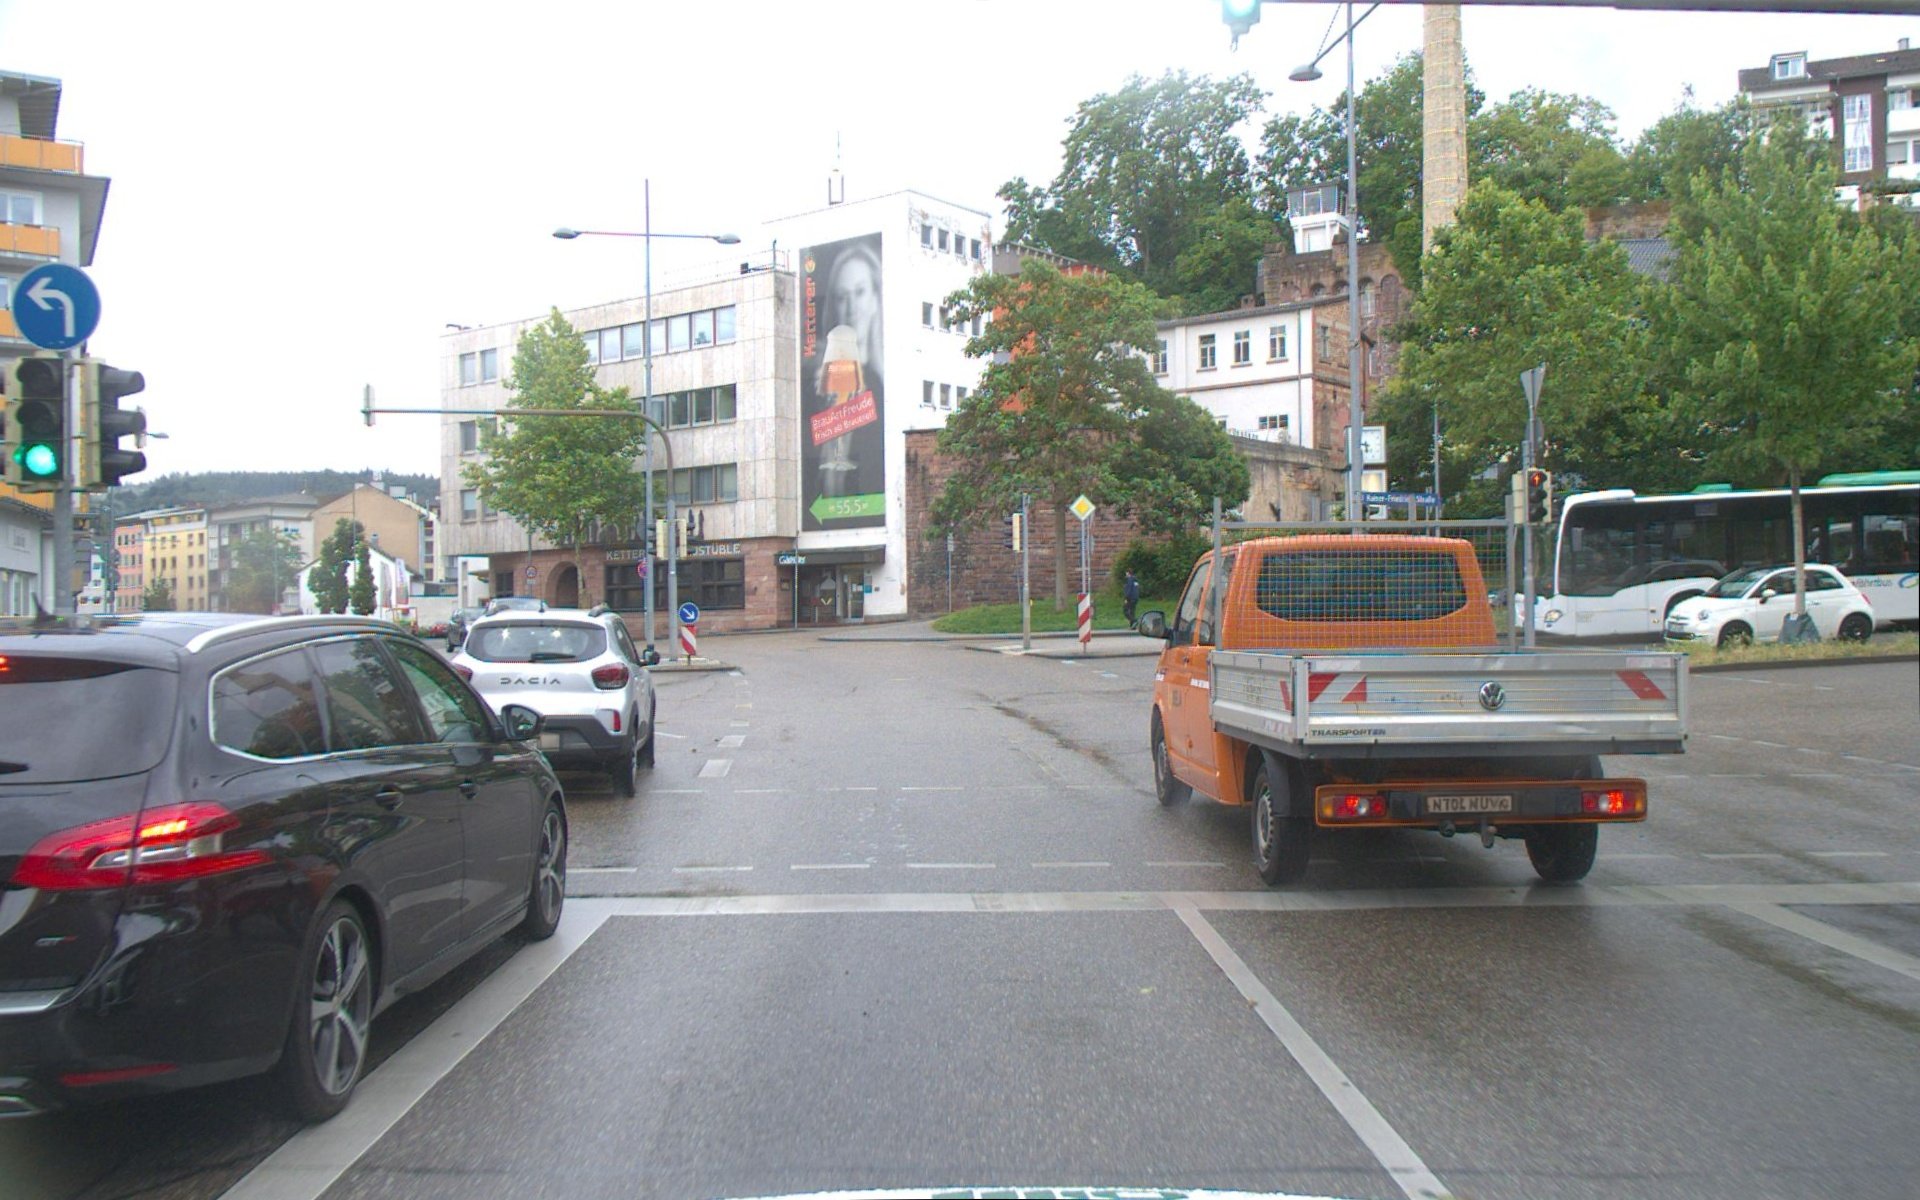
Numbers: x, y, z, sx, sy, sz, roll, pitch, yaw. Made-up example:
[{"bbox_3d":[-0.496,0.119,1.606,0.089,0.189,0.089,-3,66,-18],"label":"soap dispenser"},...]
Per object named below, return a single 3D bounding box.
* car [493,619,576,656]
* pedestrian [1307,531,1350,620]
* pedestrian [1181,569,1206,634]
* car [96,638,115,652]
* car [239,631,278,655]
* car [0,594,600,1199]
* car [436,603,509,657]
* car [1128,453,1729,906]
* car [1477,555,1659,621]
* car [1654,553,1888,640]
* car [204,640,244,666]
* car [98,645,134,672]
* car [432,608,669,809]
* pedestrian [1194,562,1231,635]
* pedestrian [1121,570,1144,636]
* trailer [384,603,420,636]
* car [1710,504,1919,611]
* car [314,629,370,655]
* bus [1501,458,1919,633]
[{"bbox_3d":[-17.125,1.508,66.405,1.774,1.427,4.577,1,-2,-34],"label":"car"},{"bbox_3d":[8.664,-0.577,38.878,0.771,2.048,0.587,-2,1,34],"label":"pedestrian"},{"bbox_3d":[6.035,0.052,42.794,0.554,1.644,0.691,1,-2,2],"label":"pedestrian"},{"bbox_3d":[-96.763,5.121,187.310,1.703,1.448,4.122,-3,0,-30],"label":"car"},{"bbox_3d":[-45.892,2.782,108.170,1.651,1.420,3.819,0,0,-35],"label":"car"},{"bbox_3d":[-2.573,0.763,5.822,1.763,1.459,4.394,0,-1,-2],"label":"car"},{"bbox_3d":[-16.088,0.959,54.469,1.732,1.642,4.179,-2,0,-24],"label":"car"},{"bbox_3d":[2.500,0.436,10.581,2.060,2.126,5.538,0,-1,-3],"label":"car"},{"bbox_3d":[14.756,-0.280,40.336,3.997,1.398,1.797,-2,-1,16],"label":"car"},{"bbox_3d":[14.654,-0.077,29.973,3.487,1.476,1.589,-1,1,-4],"label":"car"},{"bbox_3d":[-43.906,3.144,98.624,1.715,1.465,4.366,-1,-1,-31],"label":"car"},{"bbox_3d":[-47.865,3.313,93.734,1.709,1.390,4.070,-1,-2,-29],"label":"car"},{"bbox_3d":[-3.395,0.823,14.271,1.507,1.487,3.624,-1,0,-7],"label":"car"},{"bbox_3d":[6.530,-0.041,42.804,0.861,1.863,0.729,0,-1,0],"label":"pedestrian"},{"bbox_3d":[4.843,0.079,46.350,0.584,1.812,0.657,1,-2,8],"label":"pedestrian"},{"bbox_3d":[-48.832,1.728,144.661,2.103,2.763,5.341,-3,0,-28],"label":"trailer"},{"bbox_3d":[21.139,-1.005,38.696,6.187,2.273,2.257,-2,-1,16],"label":"car"},{"bbox_3d":[-36.262,2.468,96.980,3.802,1.420,1.659,0,0,45],"label":"car"},{"bbox_3d":[16.056,-1.099,33.385,9.434,3.273,2.704,-1,1,-3],"label":"bus"}]
